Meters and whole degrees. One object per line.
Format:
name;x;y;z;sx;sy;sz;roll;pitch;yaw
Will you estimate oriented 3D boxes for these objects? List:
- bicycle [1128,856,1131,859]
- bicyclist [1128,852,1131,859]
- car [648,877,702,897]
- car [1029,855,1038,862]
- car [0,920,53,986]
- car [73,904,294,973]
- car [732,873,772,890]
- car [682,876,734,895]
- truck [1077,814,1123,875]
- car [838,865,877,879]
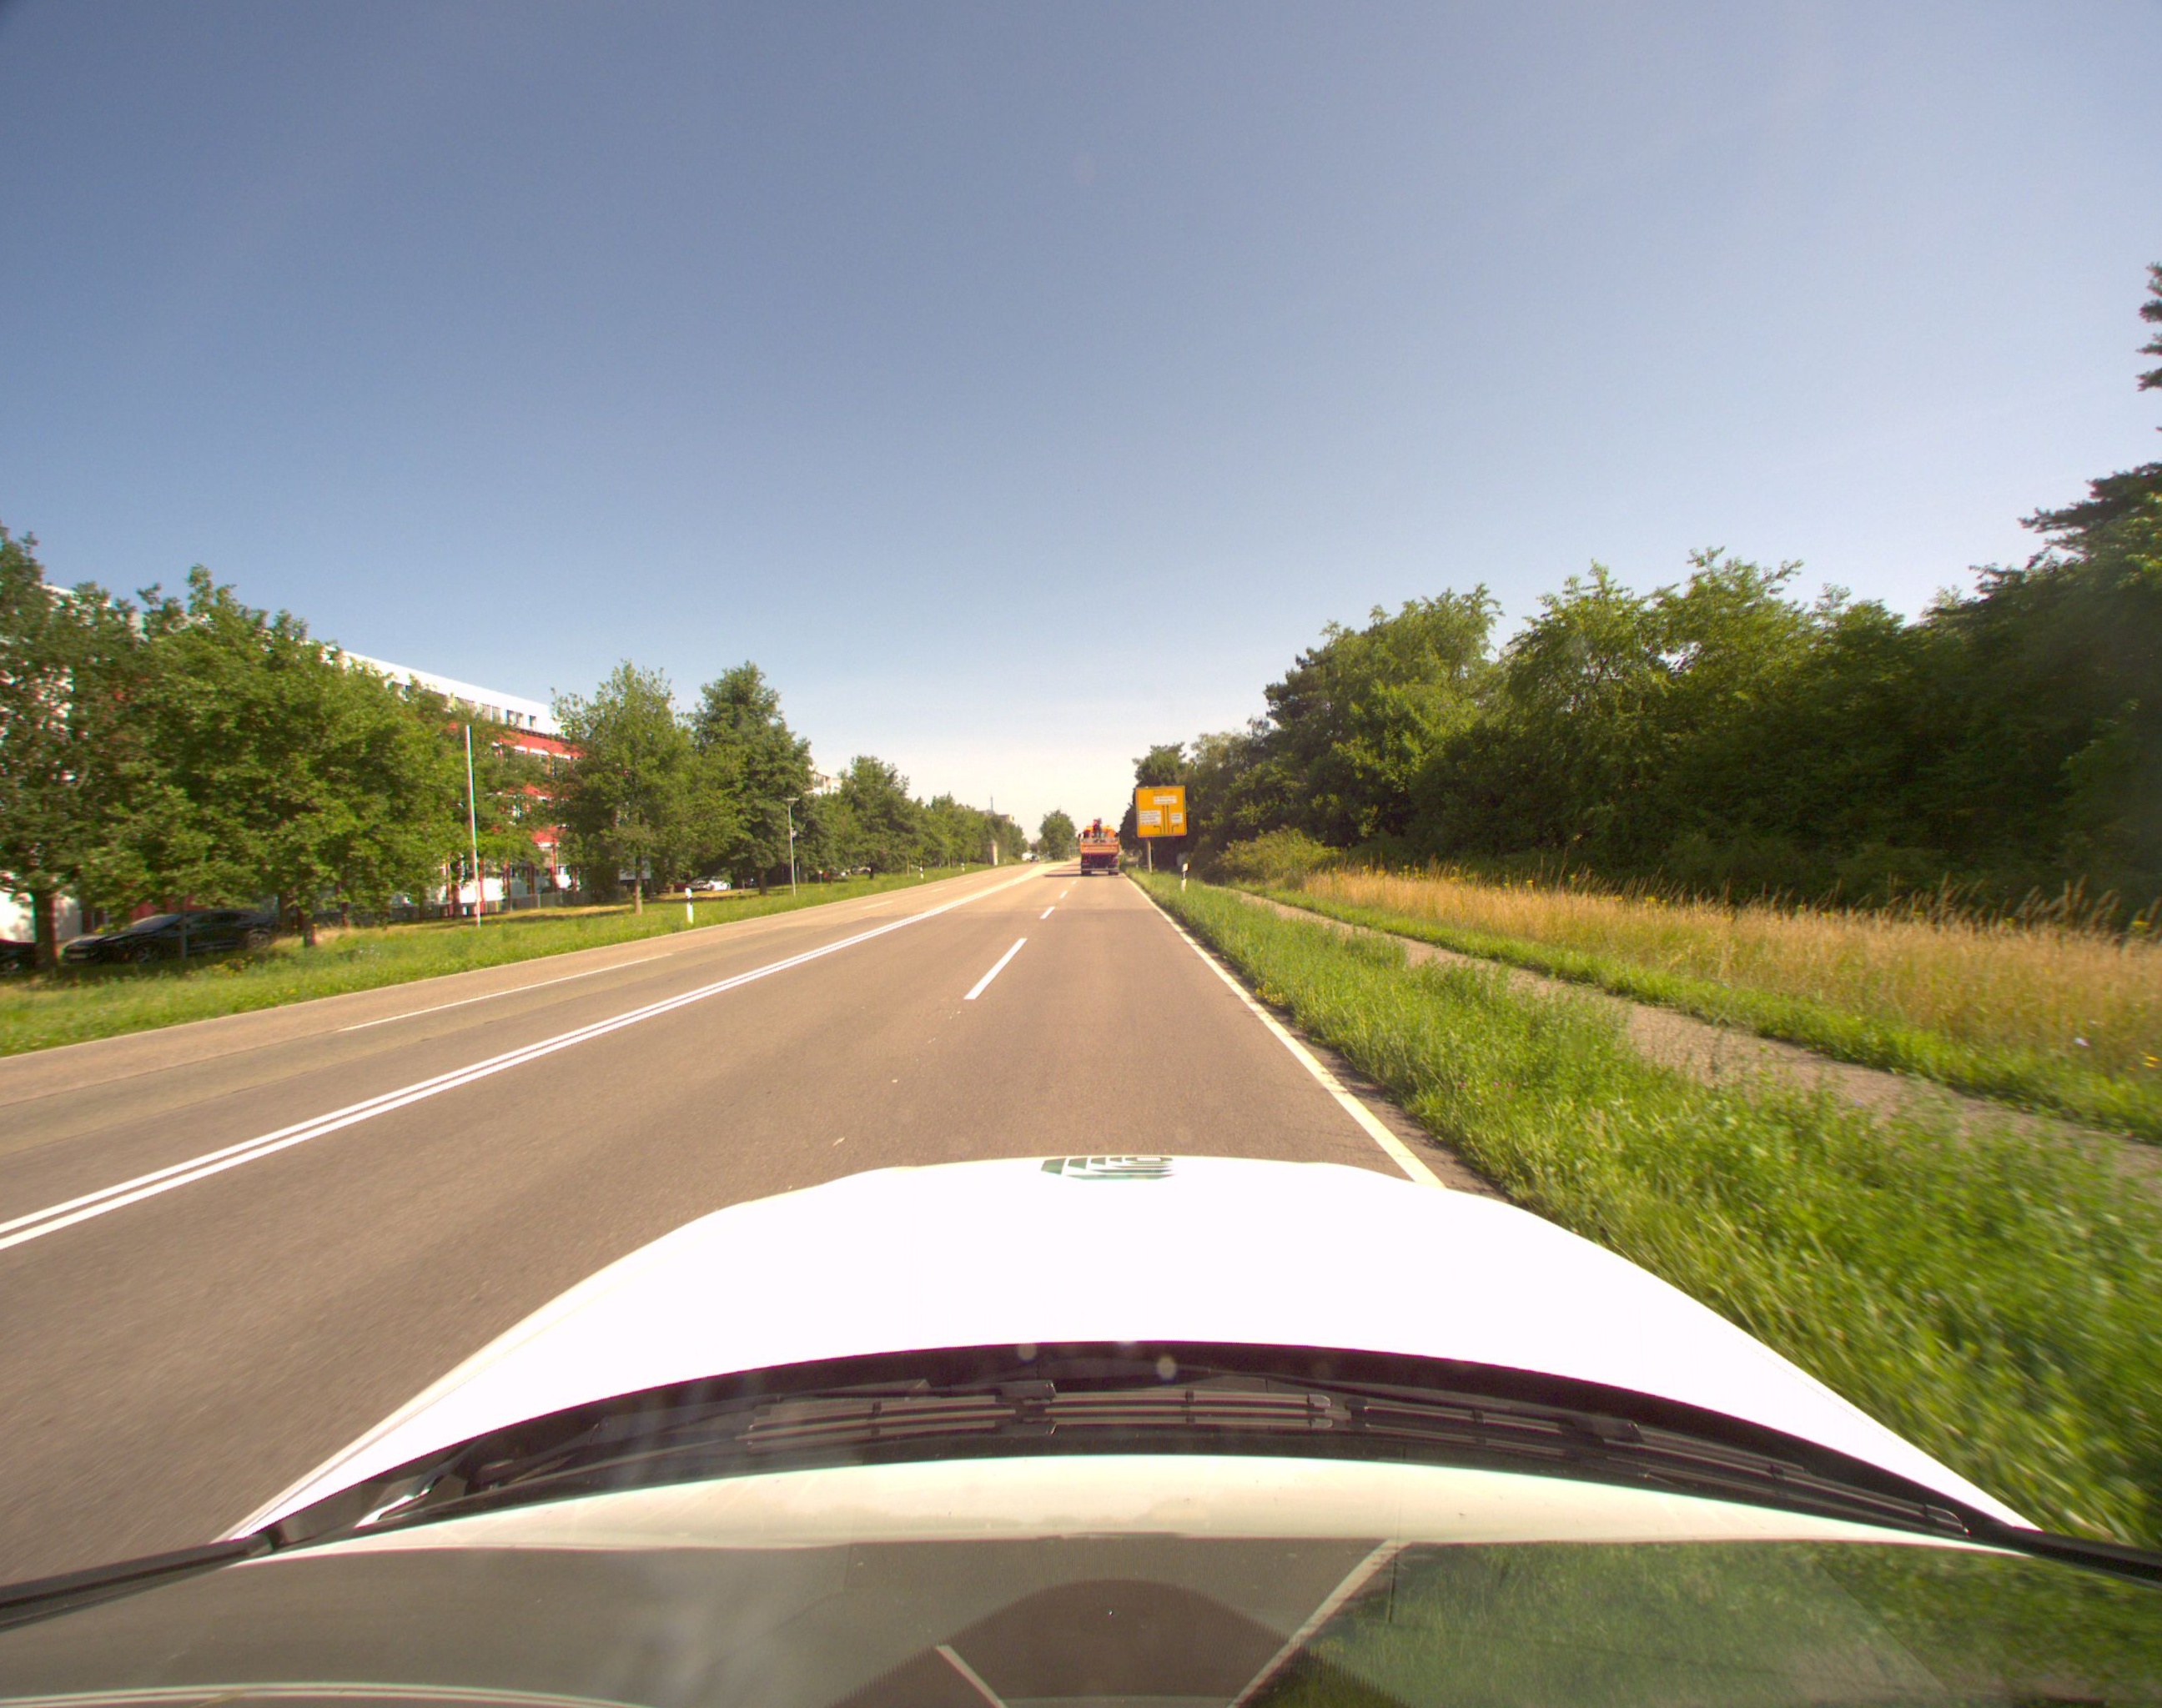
bicycle;11.241;0.781;188.864;0.556;0.815;1.964;-3;0;1
bicyclist;11.212;0.289;188.855;0.557;1.558;0.557;-3;0;0
car;-35.619;2.896;71.685;1.985;1.437;4.958;-3;0;3
car;-11.672;1.012;200.422;1.794;1.572;4.001;-3;0;1
car;-28.062;2.578;19.211;1.737;1.578;4.550;-3;0;1
car;-27.847;2.557;25.541;1.737;1.578;4.550;-3;0;1
car;-33.142;2.717;82.216;1.986;1.437;4.611;-3;0;1
car;-33.011;2.755;72.247;1.985;1.437;4.958;-3;0;3
truck;1.162;-0.617;55.363;2.863;3.880;7.397;-1;0;-1
car;-29.723;2.390;108.323;4.579;1.650;2.000;-3;0;0
